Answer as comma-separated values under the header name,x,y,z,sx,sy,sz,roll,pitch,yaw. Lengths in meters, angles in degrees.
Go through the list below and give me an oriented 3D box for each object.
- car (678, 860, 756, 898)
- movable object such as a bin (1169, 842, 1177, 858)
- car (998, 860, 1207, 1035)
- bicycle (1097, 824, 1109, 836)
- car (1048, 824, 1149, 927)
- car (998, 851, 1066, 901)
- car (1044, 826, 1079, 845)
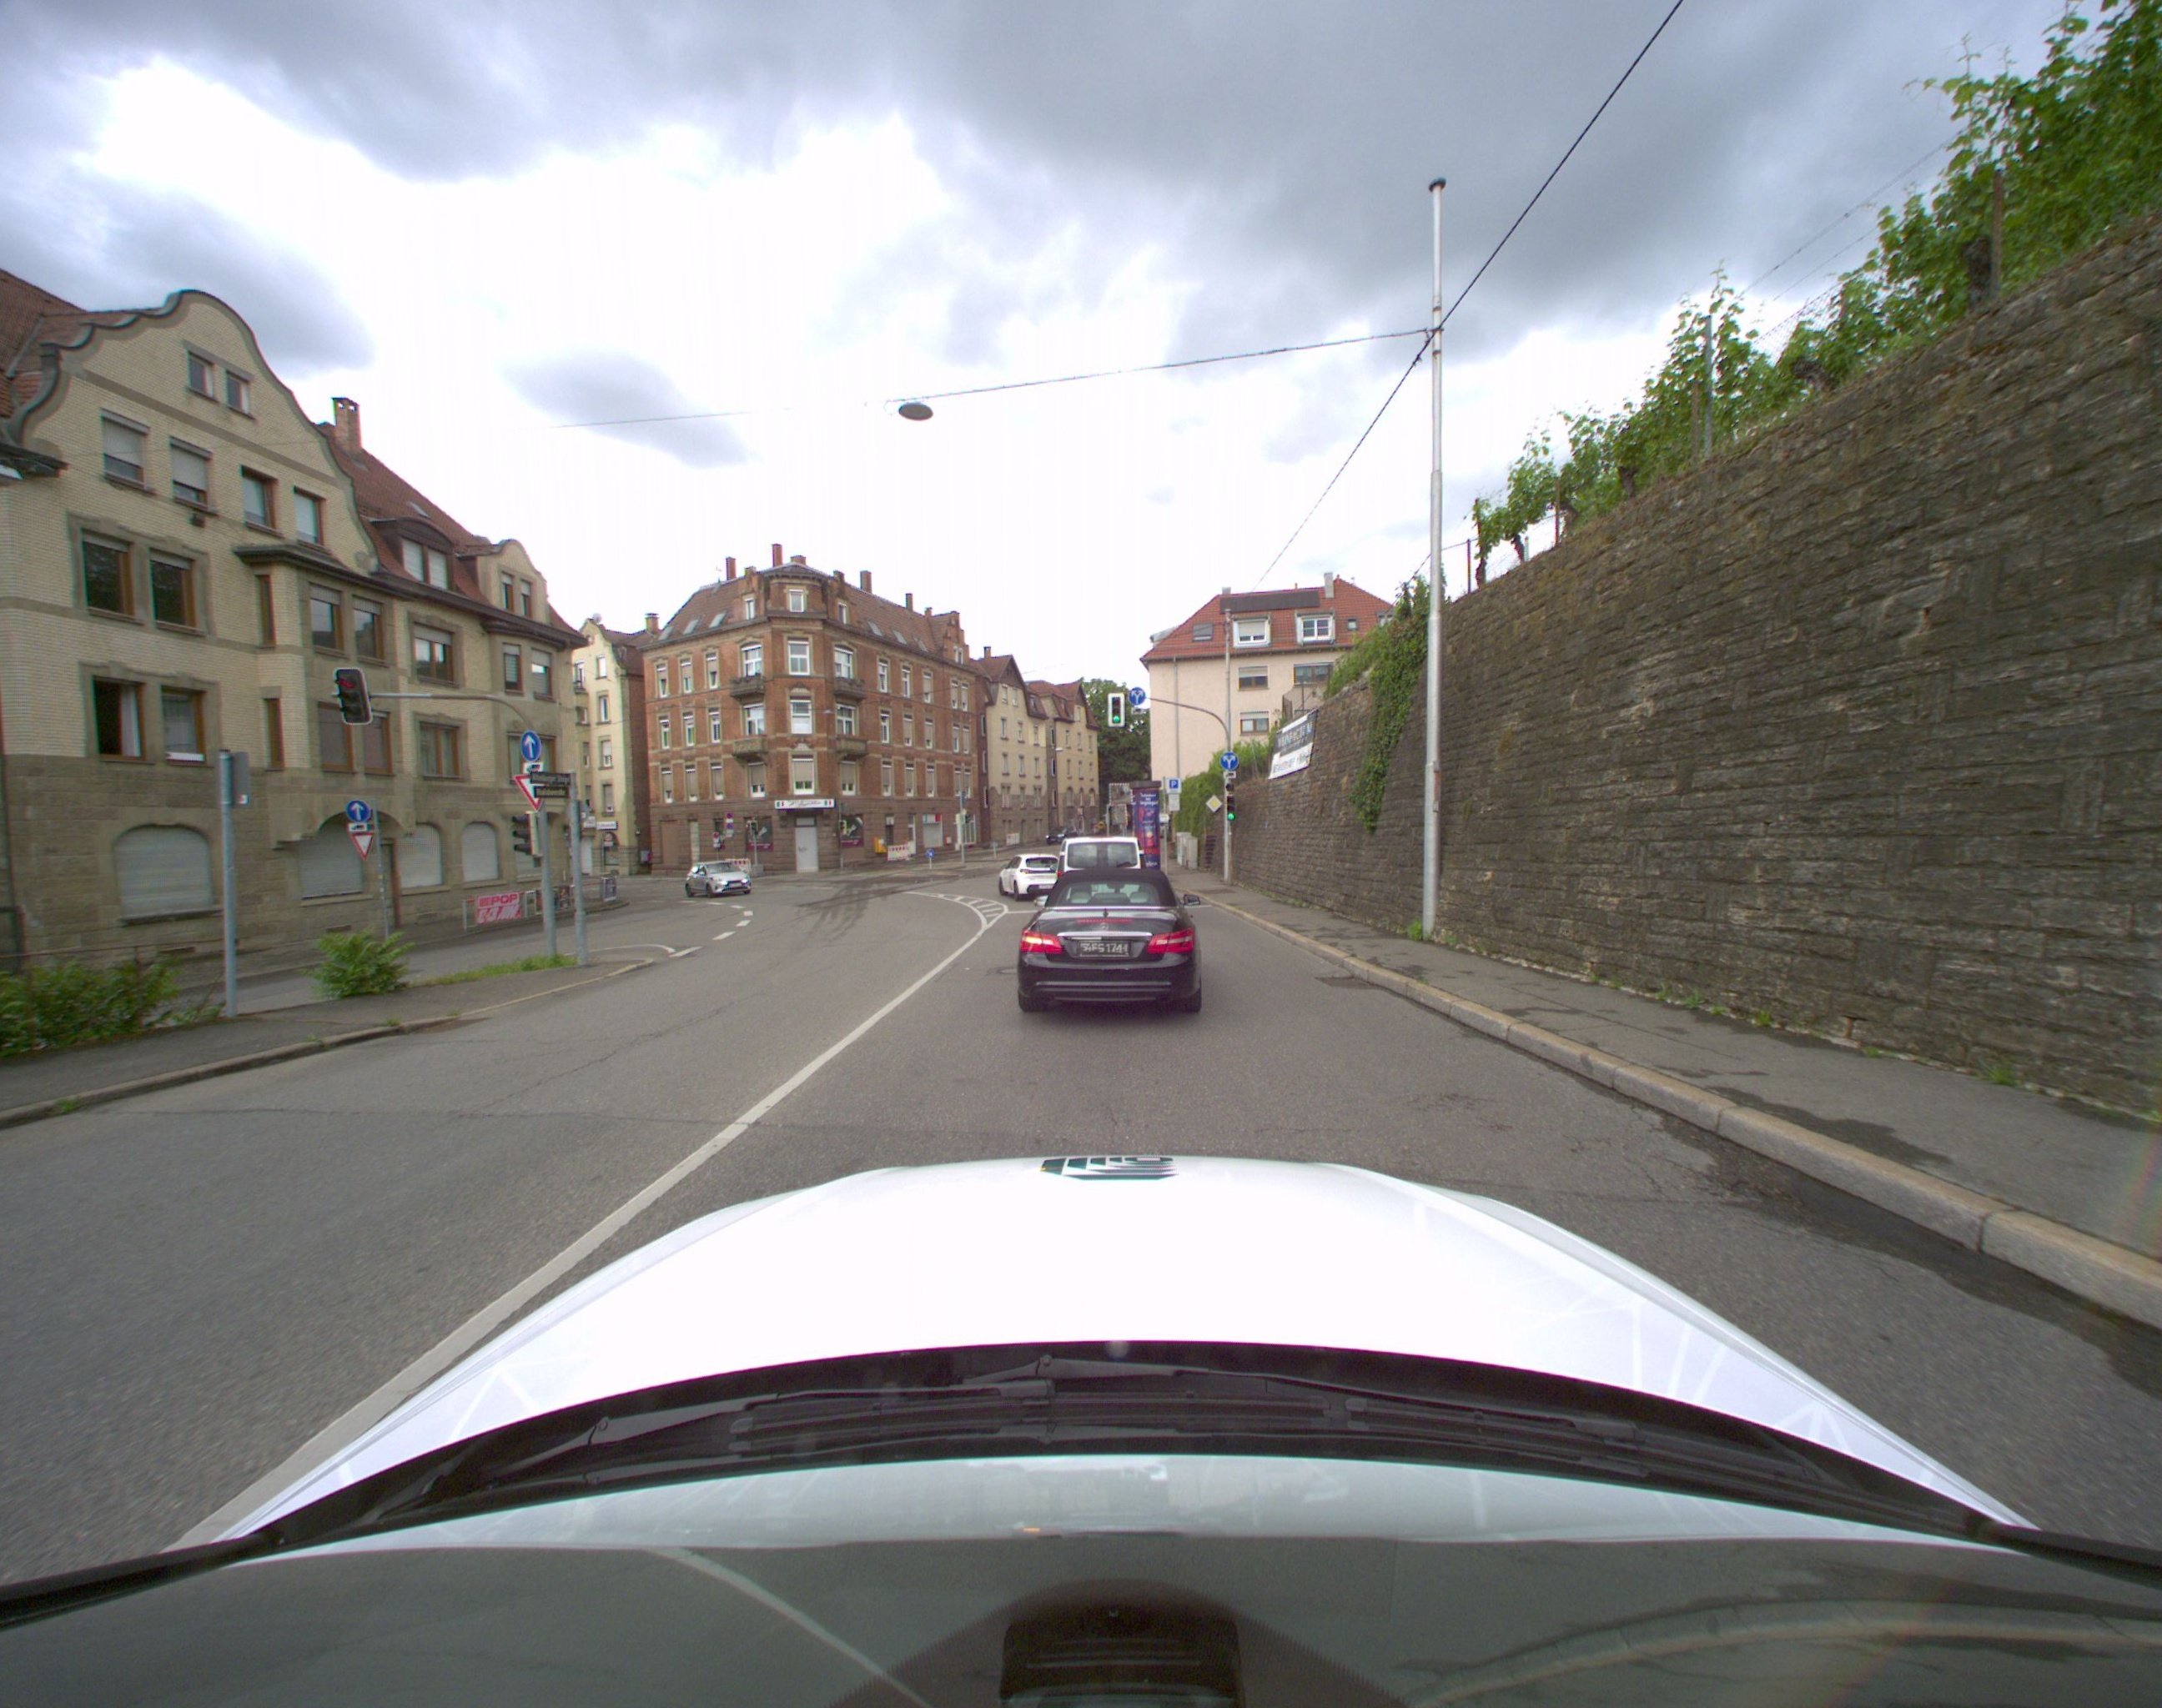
name,x,y,z,sx,sy,sz,roll,pitch,yaw
car,-15.491,1.067,34.575,3.597,1.467,1.685,-2,0,42
movable object such as a bin,5.199,-0.225,46.086,0.343,0.911,0.494,-1,0,-4
car,0.258,0.827,9.232,1.755,1.409,4.400,-2,0,2
bicycle,2.563,-2.778,93.366,0.627,1.306,2.611,-5,2,16
car,0.420,0.408,18.009,1.884,1.929,4.647,-2,0,2
car,-1.683,0.680,26.763,1.682,1.466,3.903,-2,0,-12
car,-1.809,-1.721,76.453,1.978,1.514,4.306,-2,3,17
